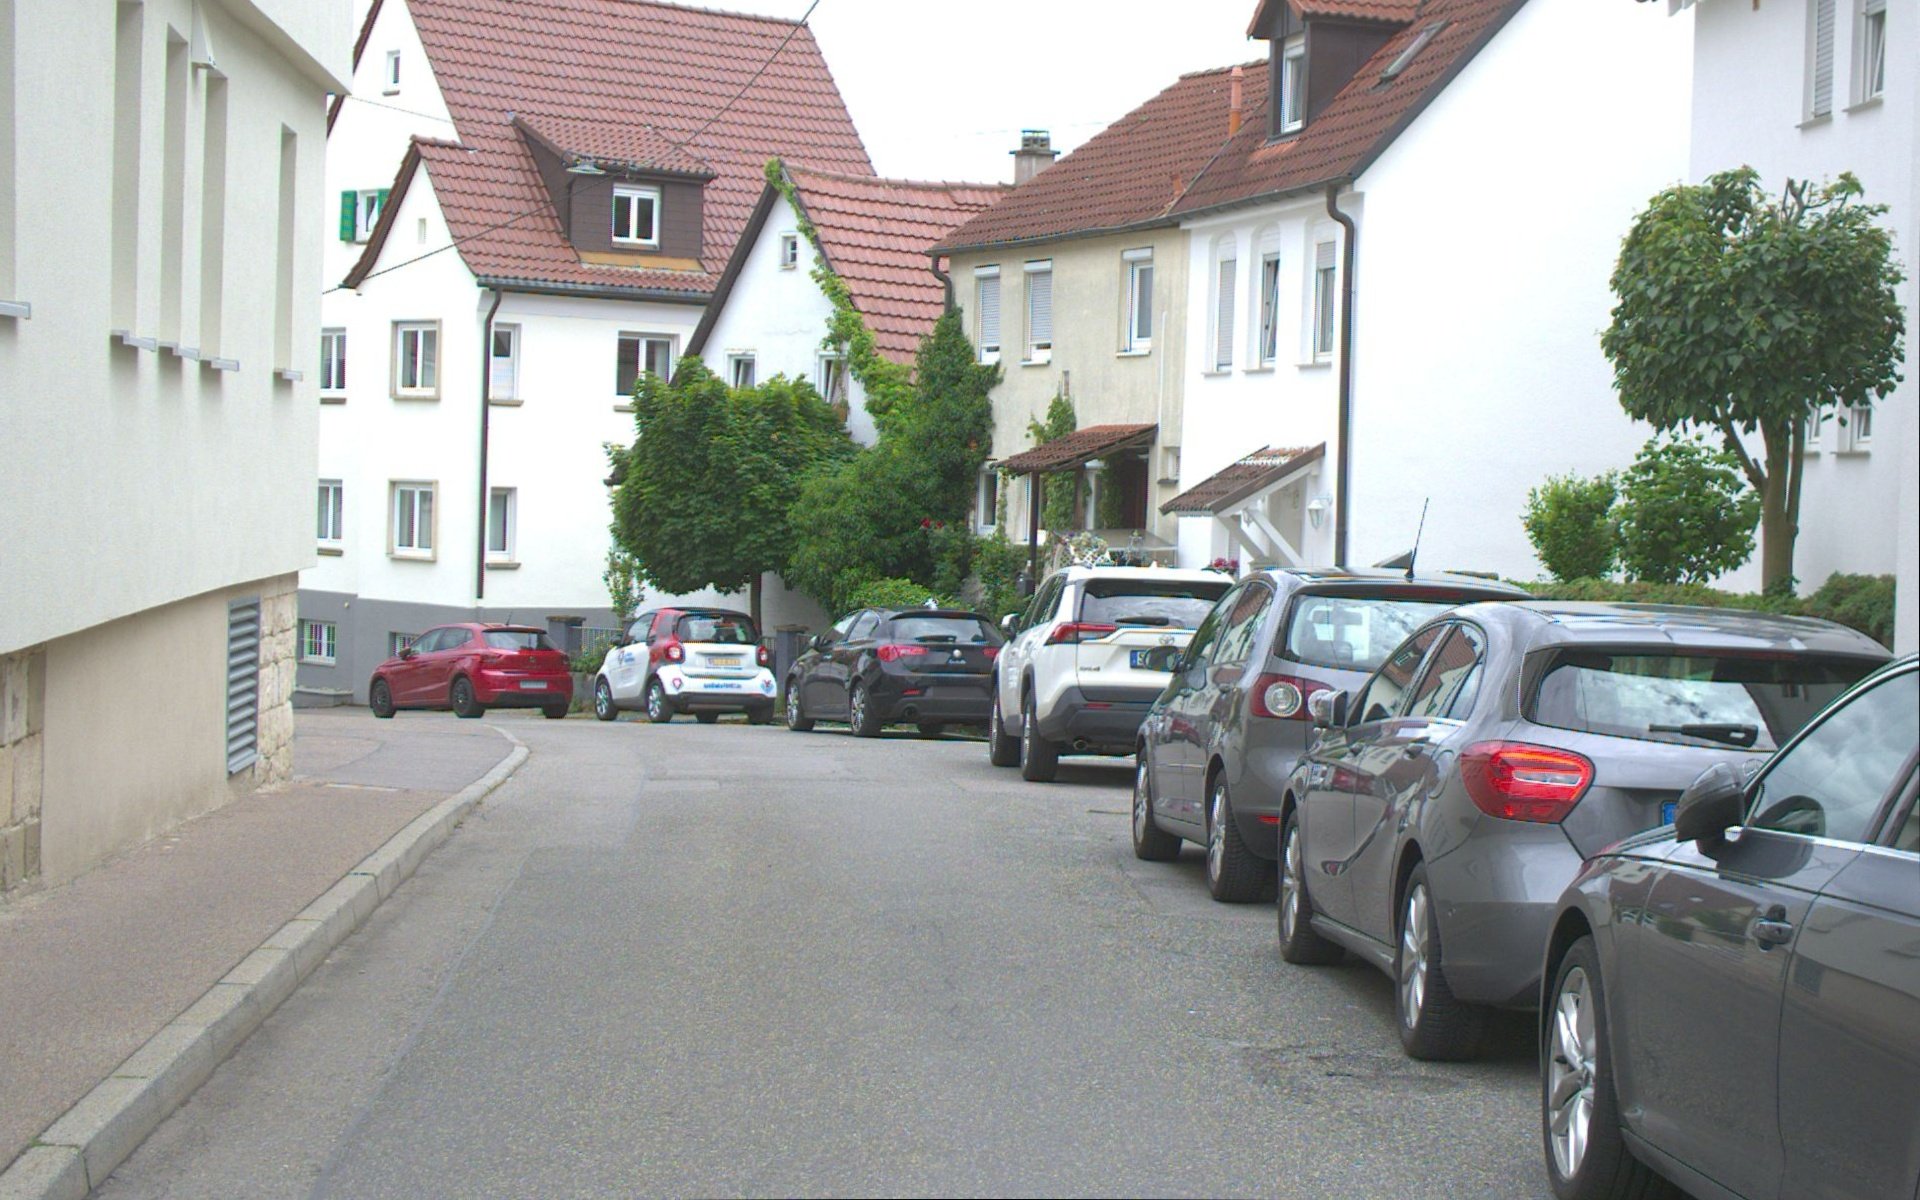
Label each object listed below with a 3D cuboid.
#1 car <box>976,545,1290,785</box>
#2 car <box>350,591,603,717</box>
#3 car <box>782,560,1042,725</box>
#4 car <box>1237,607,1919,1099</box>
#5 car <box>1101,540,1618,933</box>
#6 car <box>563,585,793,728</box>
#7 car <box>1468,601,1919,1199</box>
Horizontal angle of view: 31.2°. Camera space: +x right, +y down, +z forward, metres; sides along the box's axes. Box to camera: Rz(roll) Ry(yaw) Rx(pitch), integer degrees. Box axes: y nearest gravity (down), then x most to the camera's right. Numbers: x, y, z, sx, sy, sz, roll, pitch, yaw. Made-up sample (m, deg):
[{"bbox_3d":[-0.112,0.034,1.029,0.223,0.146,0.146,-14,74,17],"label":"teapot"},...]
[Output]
[{"bbox_3d":[1.273,0.466,27.082,1.873,1.707,4.148,1,0,-5],"label":"car"},{"bbox_3d":[-7.344,0.838,51.937,1.994,1.678,3.999,-5,2,-36],"label":"car"},{"bbox_3d":[-0.587,0.478,37.764,1.993,1.707,4.001,0,-1,-14],"label":"car"},{"bbox_3d":[2.112,0.731,11.826,1.796,1.347,4.075,2,0,-2],"label":"car"},{"bbox_3d":[1.835,0.584,17.039,1.736,1.605,4.001,4,0,-4],"label":"car"},{"bbox_3d":[-3.886,0.738,46.770,1.962,1.707,4.001,1,2,-22],"label":"car"},{"bbox_3d":[2.372,0.743,6.489,1.918,1.405,4.656,0,1,-3],"label":"car"}]
